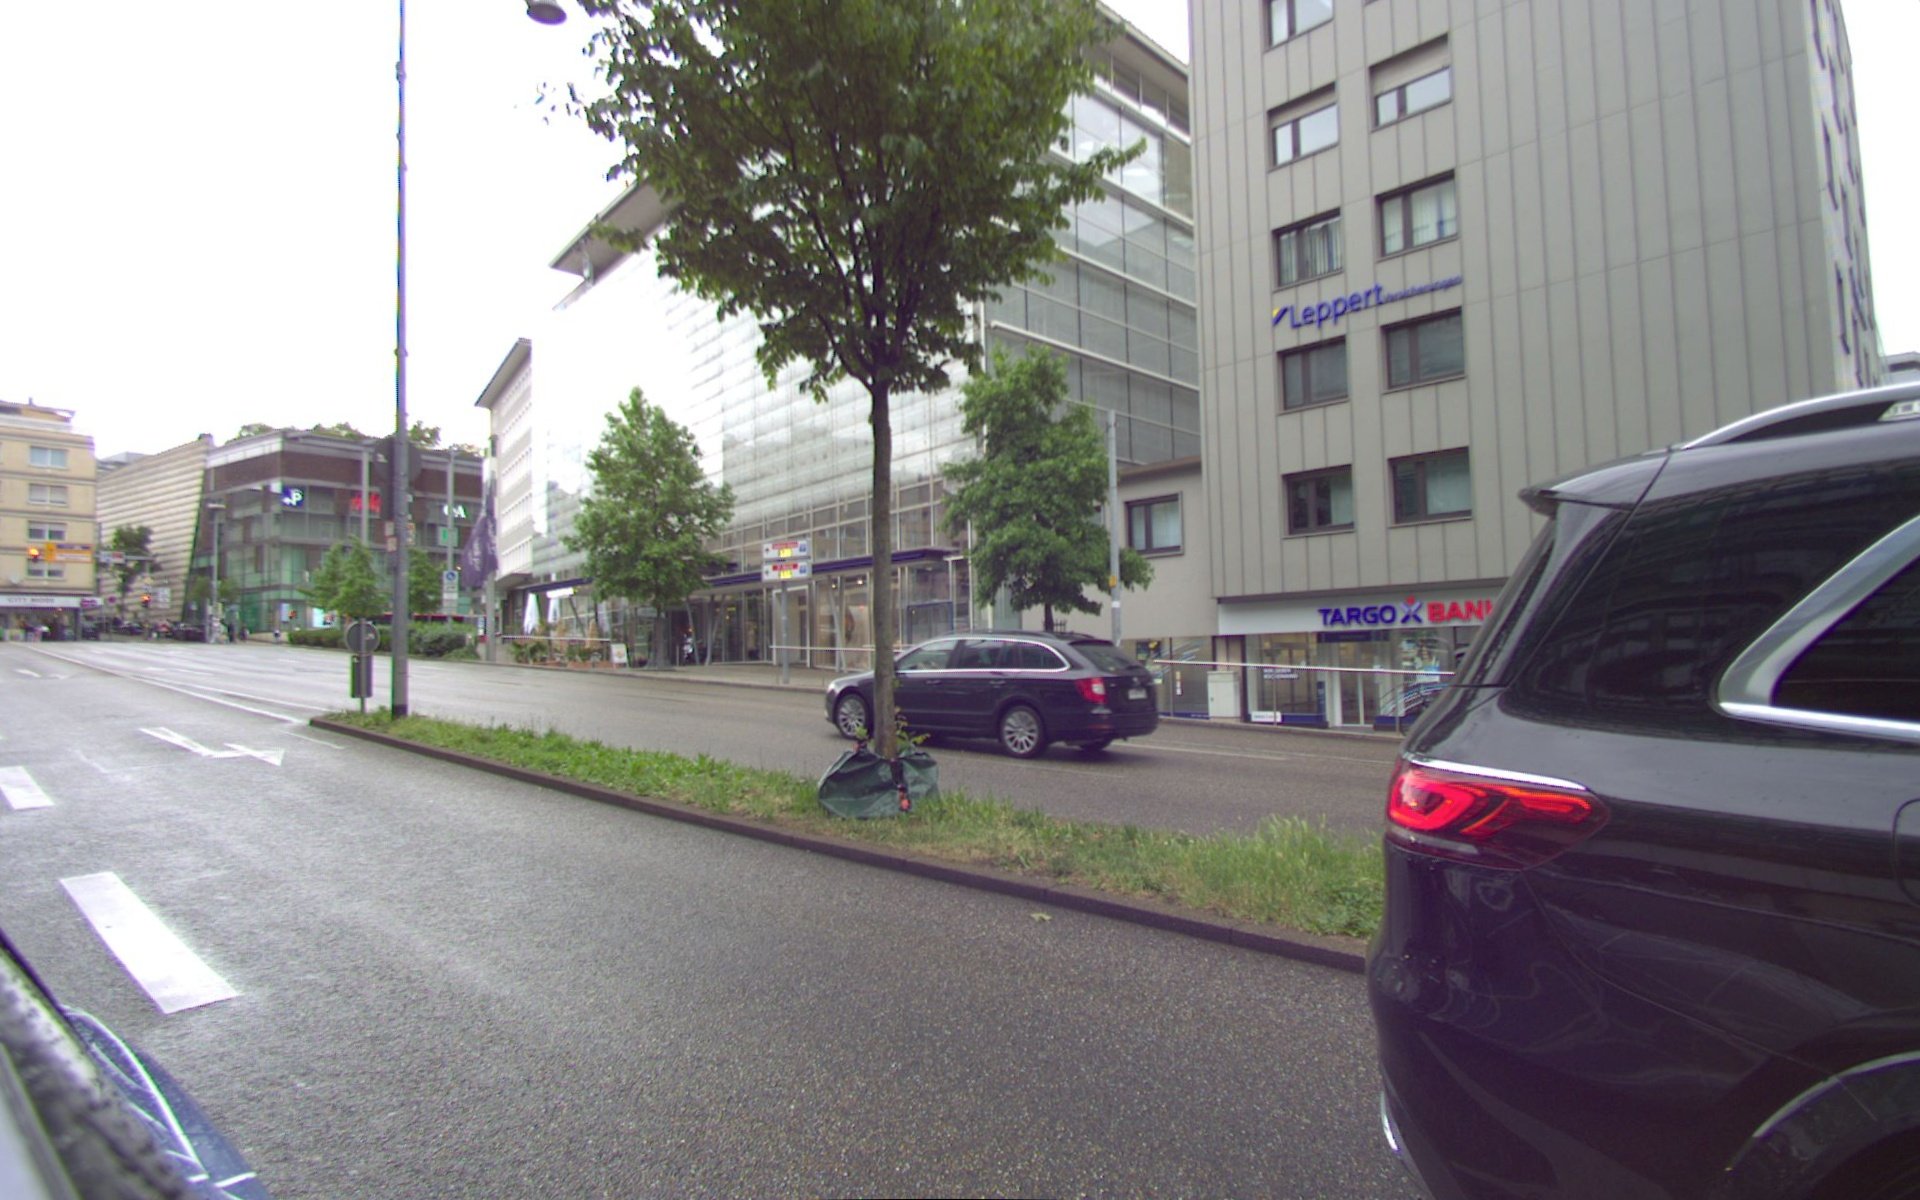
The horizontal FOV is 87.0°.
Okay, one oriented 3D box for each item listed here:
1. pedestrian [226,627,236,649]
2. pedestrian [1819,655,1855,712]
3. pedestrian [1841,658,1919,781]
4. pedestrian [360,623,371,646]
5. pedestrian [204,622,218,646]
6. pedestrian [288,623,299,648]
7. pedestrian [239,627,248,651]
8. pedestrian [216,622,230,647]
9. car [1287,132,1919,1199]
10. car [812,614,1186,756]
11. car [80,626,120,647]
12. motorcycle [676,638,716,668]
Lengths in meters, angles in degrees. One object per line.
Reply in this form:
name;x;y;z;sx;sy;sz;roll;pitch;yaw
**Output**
pedestrian;-53.264;2.781;73.903;0.602;1.642;0.422;-1;-3;44
pedestrian;27.109;2.561;31.302;0.724;1.710;0.781;0;-3;34
pedestrian;13.260;1.684;14.569;0.626;1.649;0.791;0;0;-41
pedestrian;-45.356;2.627;77.200;0.618;1.788;0.689;0;0;-45
pedestrian;-51.719;2.342;69.881;0.602;1.642;0.625;-1;-3;42
pedestrian;-49.770;2.644;75.564;0.617;1.788;0.689;0;0;-43
pedestrian;-51.276;2.789;72.415;0.603;1.642;0.422;-1;-3;45
pedestrian;-50.294;2.362;69.017;0.603;1.642;0.625;-1;-3;44
car;3.087;0.381;0.797;5.069;1.884;1.892;0;0;40
car;0.325;1.071;12.856;4.732;1.497;1.617;-4;-6;39
car;-90.286;3.824;106.224;4.575;2.029;1.977;0;-2;34
motorcycle;-11.989;2.425;46.073;0.620;1.336;1.685;-1;-3;41
